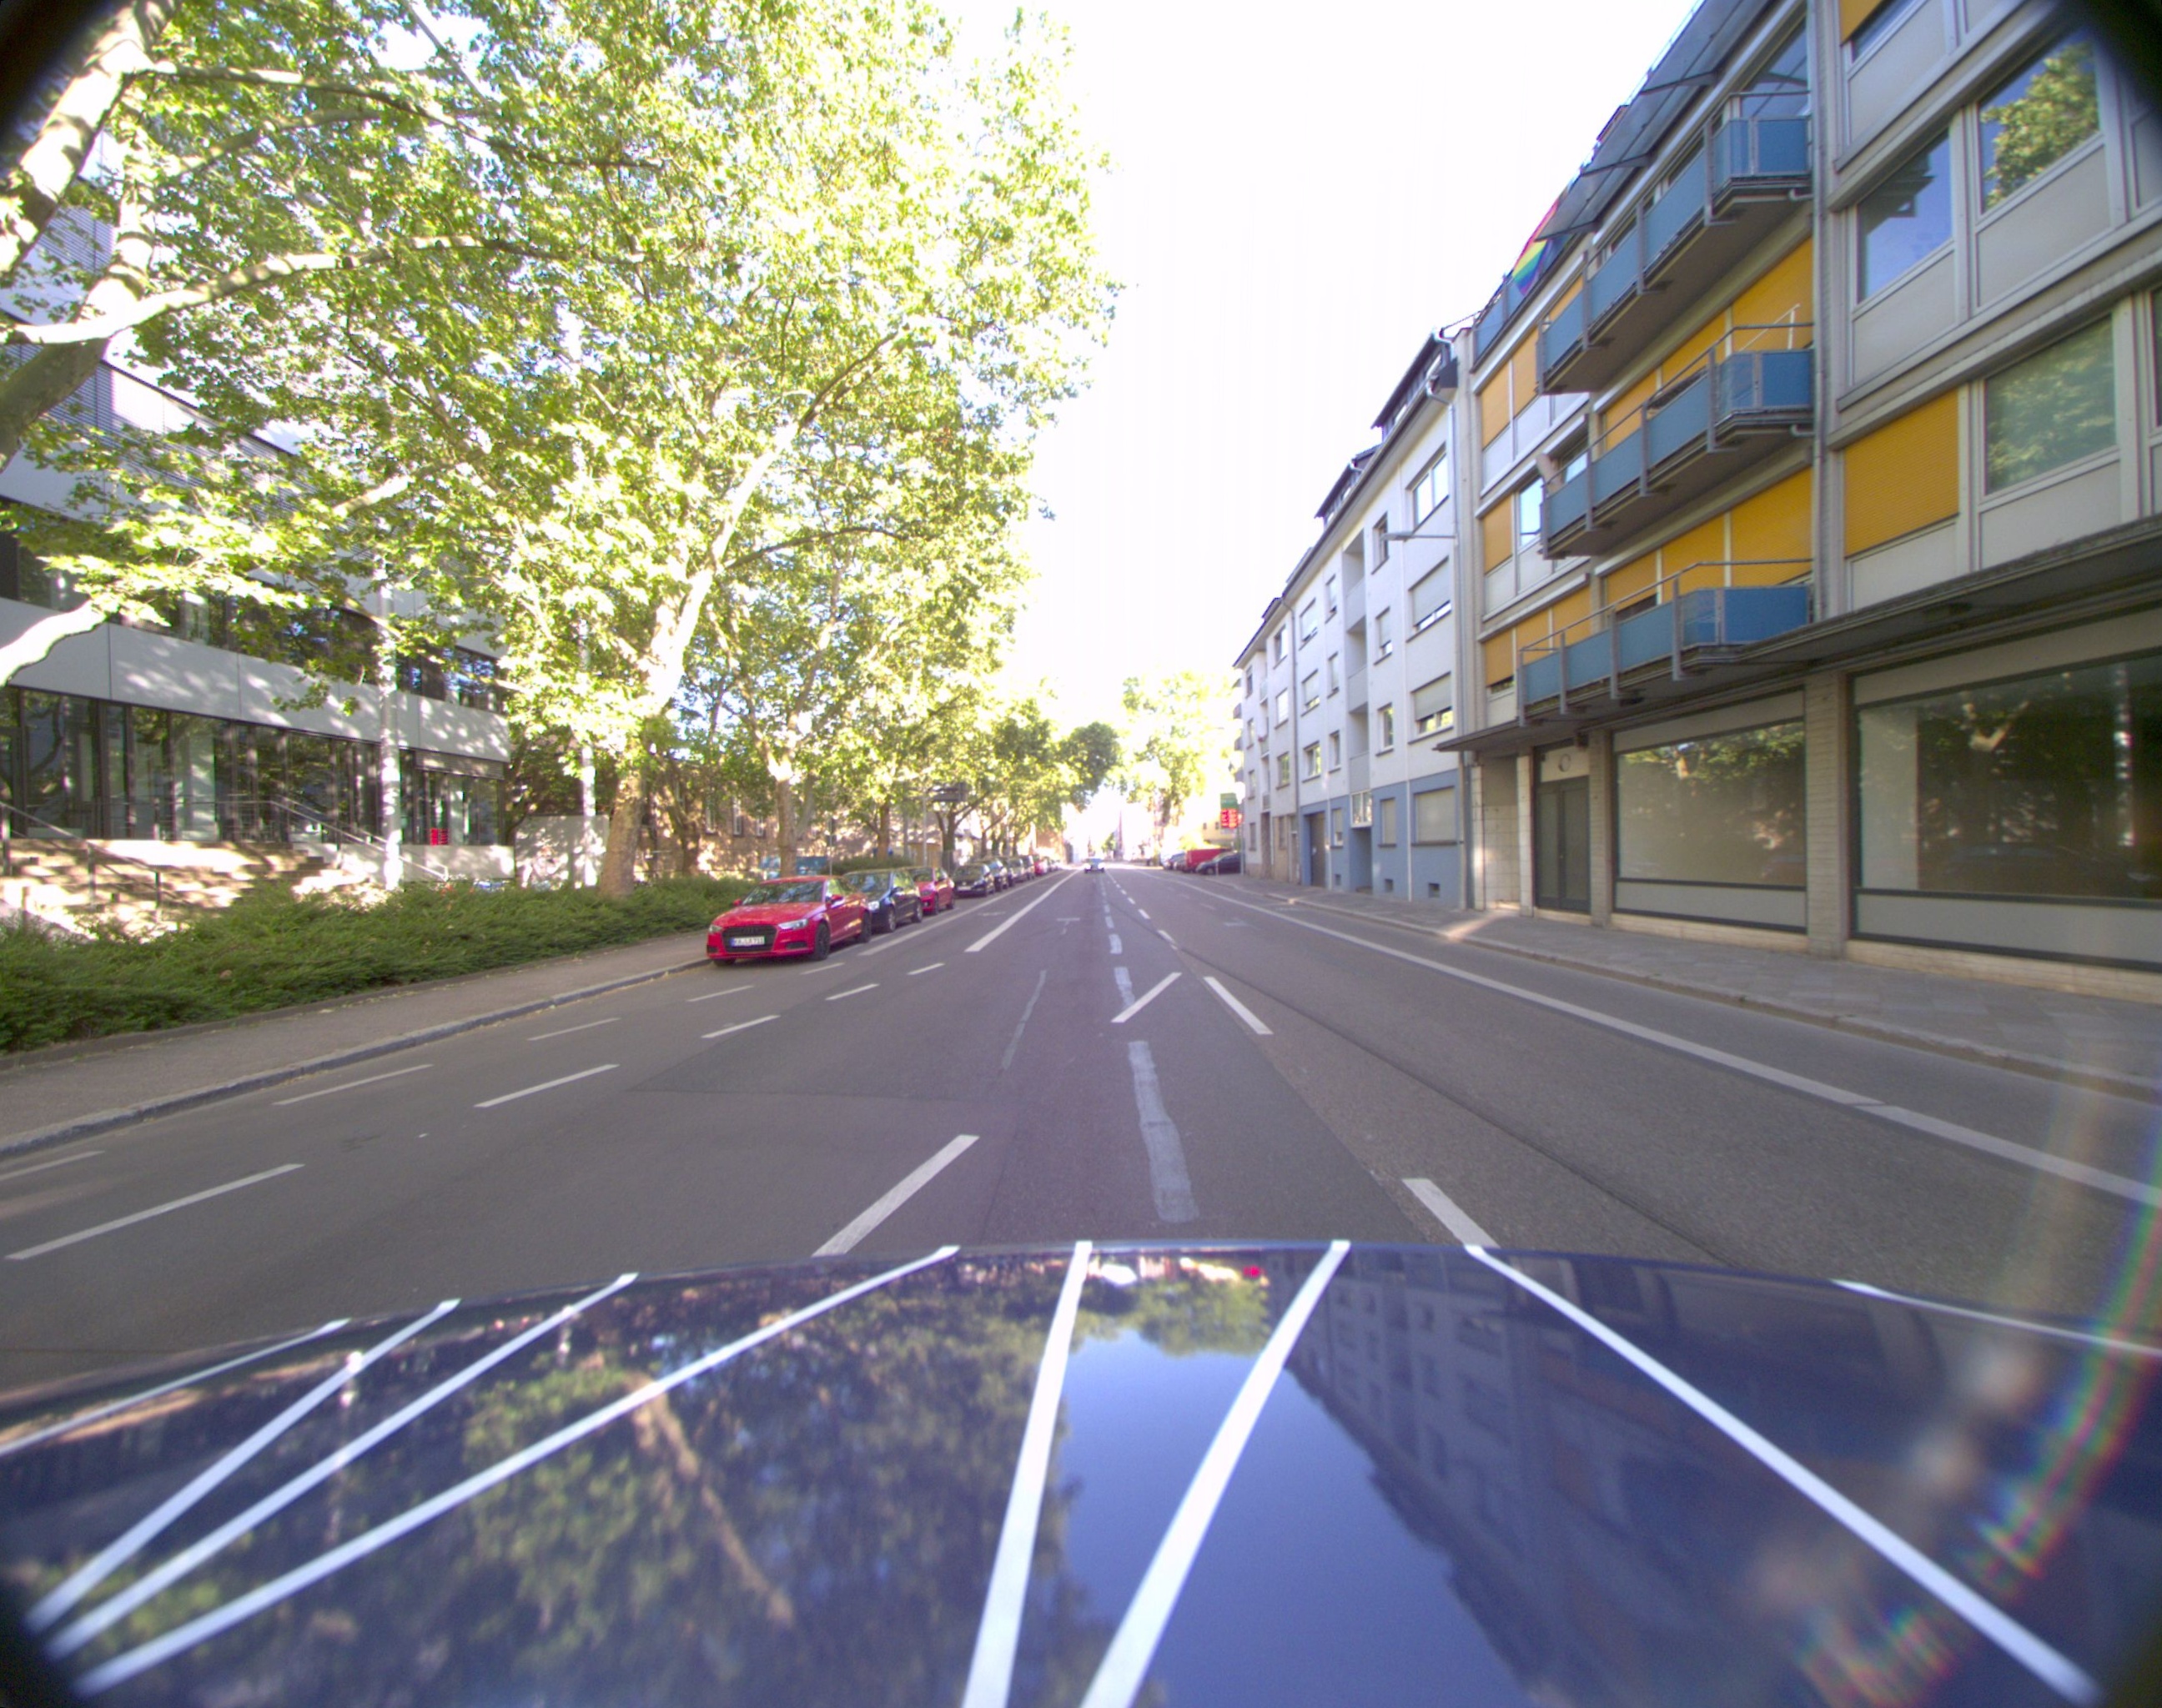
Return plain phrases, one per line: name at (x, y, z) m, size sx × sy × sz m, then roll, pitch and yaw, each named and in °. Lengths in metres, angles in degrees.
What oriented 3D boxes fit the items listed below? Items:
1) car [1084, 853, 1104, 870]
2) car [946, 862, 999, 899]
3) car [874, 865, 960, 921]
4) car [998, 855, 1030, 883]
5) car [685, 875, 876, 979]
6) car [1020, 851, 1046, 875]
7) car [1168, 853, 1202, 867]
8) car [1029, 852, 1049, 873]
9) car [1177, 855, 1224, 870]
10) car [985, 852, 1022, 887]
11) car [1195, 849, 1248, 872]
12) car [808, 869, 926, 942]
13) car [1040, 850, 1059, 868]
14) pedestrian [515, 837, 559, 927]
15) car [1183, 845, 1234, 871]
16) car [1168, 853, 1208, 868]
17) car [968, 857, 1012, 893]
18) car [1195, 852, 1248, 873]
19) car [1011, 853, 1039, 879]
car at (1.225, 0.713, 70.475) m, size 1.752 × 1.423 × 4.265 m, roll -2°, pitch 0°, yaw 1°
car at (-4.692, 1.111, 33.251) m, size 1.692 × 1.414 × 3.923 m, roll -2°, pitch 1°, yaw 0°
car at (-5.012, 1.133, 23.700) m, size 1.692 × 1.441 × 3.923 m, roll -2°, pitch 1°, yaw 1°
car at (-4.352, 0.940, 50.127) m, size 1.634 × 1.604 × 4.576 m, roll -2°, pitch 1°, yaw 0°
car at (-5.160, 1.180, 13.673) m, size 1.794 × 1.384 × 3.999 m, roll -2°, pitch 1°, yaw 0°
car at (-4.169, 0.722, 66.107) m, size 1.915 × 1.940 × 3.769 m, roll -2°, pitch 1°, yaw 0°
car at (10.325, 0.581, 75.482) m, size 3.271 × 1.238 × 1.345 m, roll -2°, pitch 1°, yaw 2°
car at (-3.901, 0.806, 71.018) m, size 1.599 × 1.835 × 3.769 m, roll -2°, pitch 1°, yaw 0°
car at (9.814, 0.692, 62.603) m, size 3.687 × 1.122 × 1.345 m, roll -2°, pitch 1°, yaw 2°
car at (-4.454, 0.853, 44.255) m, size 1.634 × 1.781 × 4.576 m, roll -2°, pitch 1°, yaw 0°
car at (10.536, 0.484, 57.113) m, size 3.687 × 1.503 × 1.490 m, roll -2°, pitch 1°, yaw 2°
car at (-5.049, 1.162, 18.426) m, size 1.669 × 1.410 × 3.697 m, roll -2°, pitch 1°, yaw 1°
car at (-3.800, 0.583, 92.688) m, size 1.998 × 2.002 × 4.000 m, roll -2°, pitch 0°, yaw 1°
pedestrian at (-12.427, 0.626, 17.382) m, size 0.552 × 2.002 × 0.562 m, roll -2°, pitch 1°, yaw -11°
car at (10.062, 0.320, 59.957) m, size 3.688 × 1.897 × 1.490 m, roll -2°, pitch -1°, yaw -1°
car at (10.269, 0.626, 73.044) m, size 3.687 × 1.238 × 1.345 m, roll -2°, pitch 1°, yaw 2°
car at (-4.517, 0.992, 38.122) m, size 1.634 × 1.569 × 4.231 m, roll -2°, pitch 1°, yaw 0°
car at (10.093, 0.589, 54.744) m, size 3.508 × 1.380 × 1.490 m, roll -2°, pitch 1°, yaw 2°
car at (-4.036, 0.815, 55.254) m, size 1.634 × 1.725 × 3.769 m, roll -2°, pitch 1°, yaw 0°
